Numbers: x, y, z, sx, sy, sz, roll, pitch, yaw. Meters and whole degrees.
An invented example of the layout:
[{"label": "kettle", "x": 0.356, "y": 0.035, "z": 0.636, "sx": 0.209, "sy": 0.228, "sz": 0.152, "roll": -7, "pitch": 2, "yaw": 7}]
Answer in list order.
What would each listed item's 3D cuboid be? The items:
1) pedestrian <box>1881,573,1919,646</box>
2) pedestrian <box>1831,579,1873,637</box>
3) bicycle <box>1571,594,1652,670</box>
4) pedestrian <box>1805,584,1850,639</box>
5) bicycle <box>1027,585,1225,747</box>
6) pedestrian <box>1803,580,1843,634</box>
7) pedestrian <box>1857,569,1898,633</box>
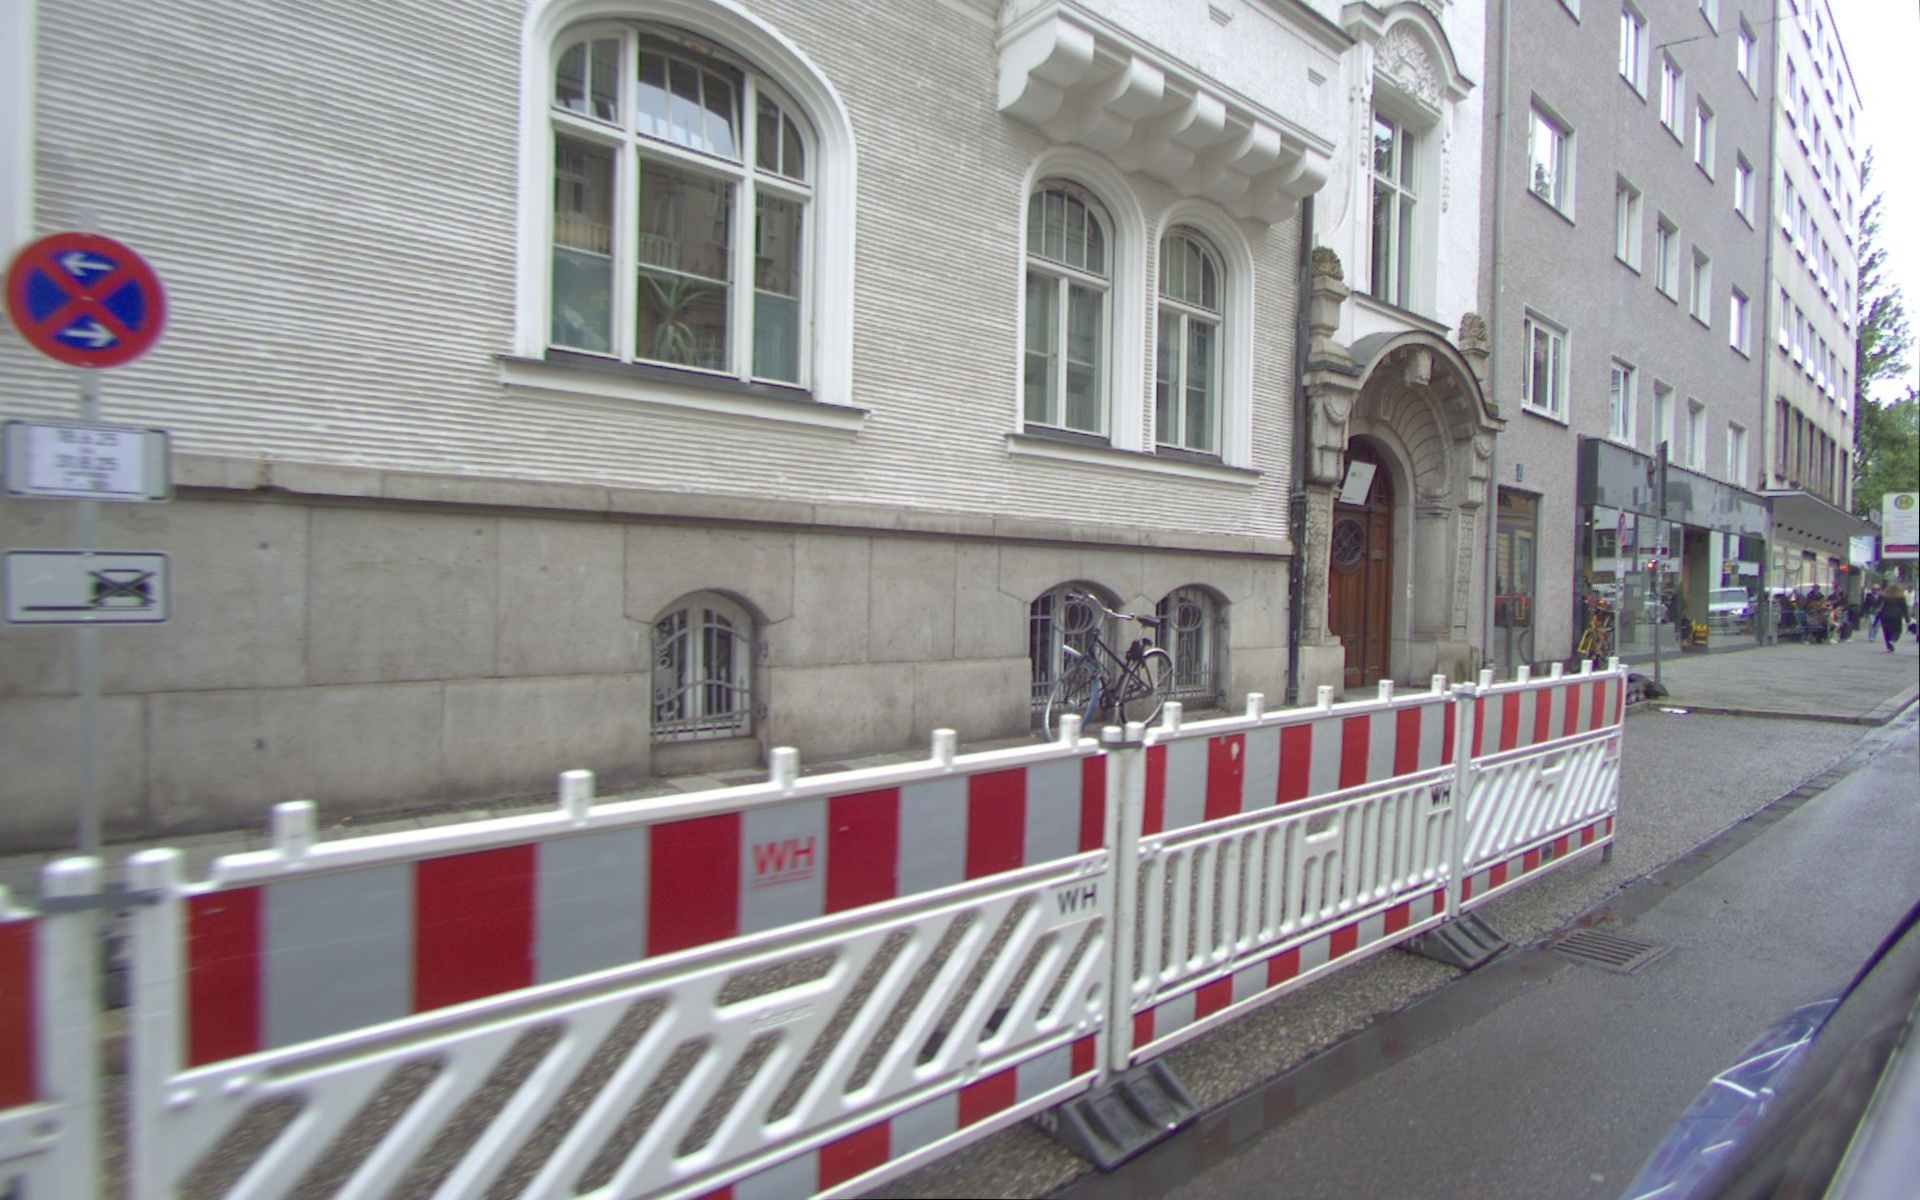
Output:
[{"label": "pedestrian", "x": 23.177, "y": 0.220, "z": 24.847, "sx": 0.605, "sy": 1.737, "sz": 0.745, "roll": 0, "pitch": 1, "yaw": -41}, {"label": "pedestrian", "x": 25.559, "y": 0.206, "z": 28.994, "sx": 0.835, "sy": 1.609, "sz": 0.793, "roll": 2, "pitch": 1, "yaw": 45}, {"label": "bicycle", "x": 10.323, "y": 0.478, "z": 16.005, "sx": 1.813, "sy": 1.132, "sz": 0.592, "roll": 0, "pitch": 1, "yaw": -41}, {"label": "pedestrian", "x": 23.350, "y": 0.293, "z": 27.228, "sx": 0.835, "sy": 1.424, "sz": 0.852, "roll": 2, "pitch": 1, "yaw": 45}, {"label": "bicycle", "x": 1.374, "y": 0.481, "z": 8.243, "sx": 1.624, "sy": 1.186, "sz": 0.684, "roll": 0, "pitch": 1, "yaw": -40}, {"label": "pedestrian", "x": 24.071, "y": 0.181, "z": 28.220, "sx": 0.561, "sy": 1.465, "sz": 0.747, "roll": 0, "pitch": 1, "yaw": -41}, {"label": "pedestrian", "x": 27.250, "y": 0.021, "z": 30.057, "sx": 0.807, "sy": 1.884, "sz": 0.825, "roll": 0, "pitch": 1, "yaw": -42}]
